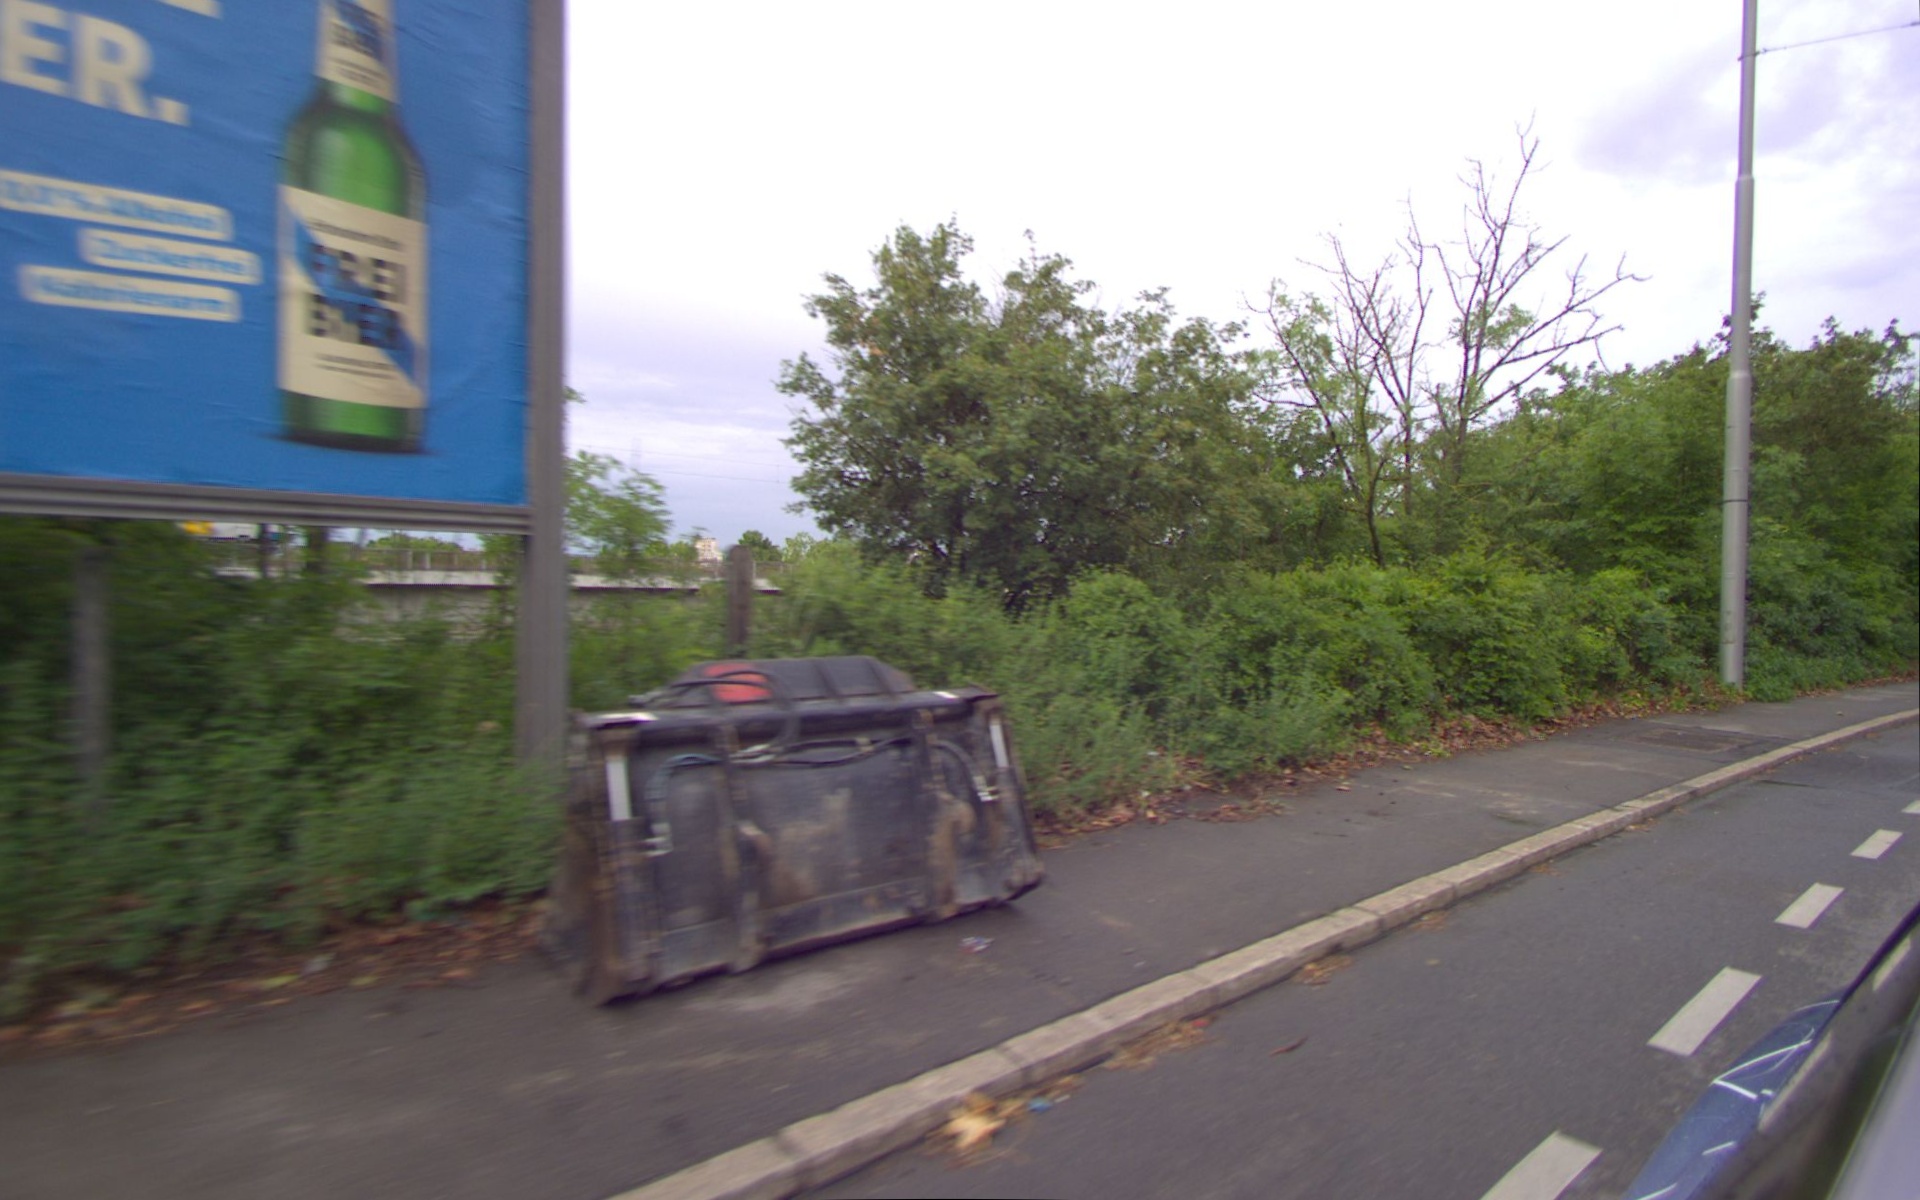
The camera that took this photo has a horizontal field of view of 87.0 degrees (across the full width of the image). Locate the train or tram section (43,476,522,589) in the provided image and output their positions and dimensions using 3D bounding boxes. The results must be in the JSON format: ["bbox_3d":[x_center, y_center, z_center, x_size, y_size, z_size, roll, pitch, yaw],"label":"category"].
[{"bbox_3d":[-30.520,-2.759,47.393,18.156,3.879,3.204,2,-1,-41],"label":"train or tram section"}]
